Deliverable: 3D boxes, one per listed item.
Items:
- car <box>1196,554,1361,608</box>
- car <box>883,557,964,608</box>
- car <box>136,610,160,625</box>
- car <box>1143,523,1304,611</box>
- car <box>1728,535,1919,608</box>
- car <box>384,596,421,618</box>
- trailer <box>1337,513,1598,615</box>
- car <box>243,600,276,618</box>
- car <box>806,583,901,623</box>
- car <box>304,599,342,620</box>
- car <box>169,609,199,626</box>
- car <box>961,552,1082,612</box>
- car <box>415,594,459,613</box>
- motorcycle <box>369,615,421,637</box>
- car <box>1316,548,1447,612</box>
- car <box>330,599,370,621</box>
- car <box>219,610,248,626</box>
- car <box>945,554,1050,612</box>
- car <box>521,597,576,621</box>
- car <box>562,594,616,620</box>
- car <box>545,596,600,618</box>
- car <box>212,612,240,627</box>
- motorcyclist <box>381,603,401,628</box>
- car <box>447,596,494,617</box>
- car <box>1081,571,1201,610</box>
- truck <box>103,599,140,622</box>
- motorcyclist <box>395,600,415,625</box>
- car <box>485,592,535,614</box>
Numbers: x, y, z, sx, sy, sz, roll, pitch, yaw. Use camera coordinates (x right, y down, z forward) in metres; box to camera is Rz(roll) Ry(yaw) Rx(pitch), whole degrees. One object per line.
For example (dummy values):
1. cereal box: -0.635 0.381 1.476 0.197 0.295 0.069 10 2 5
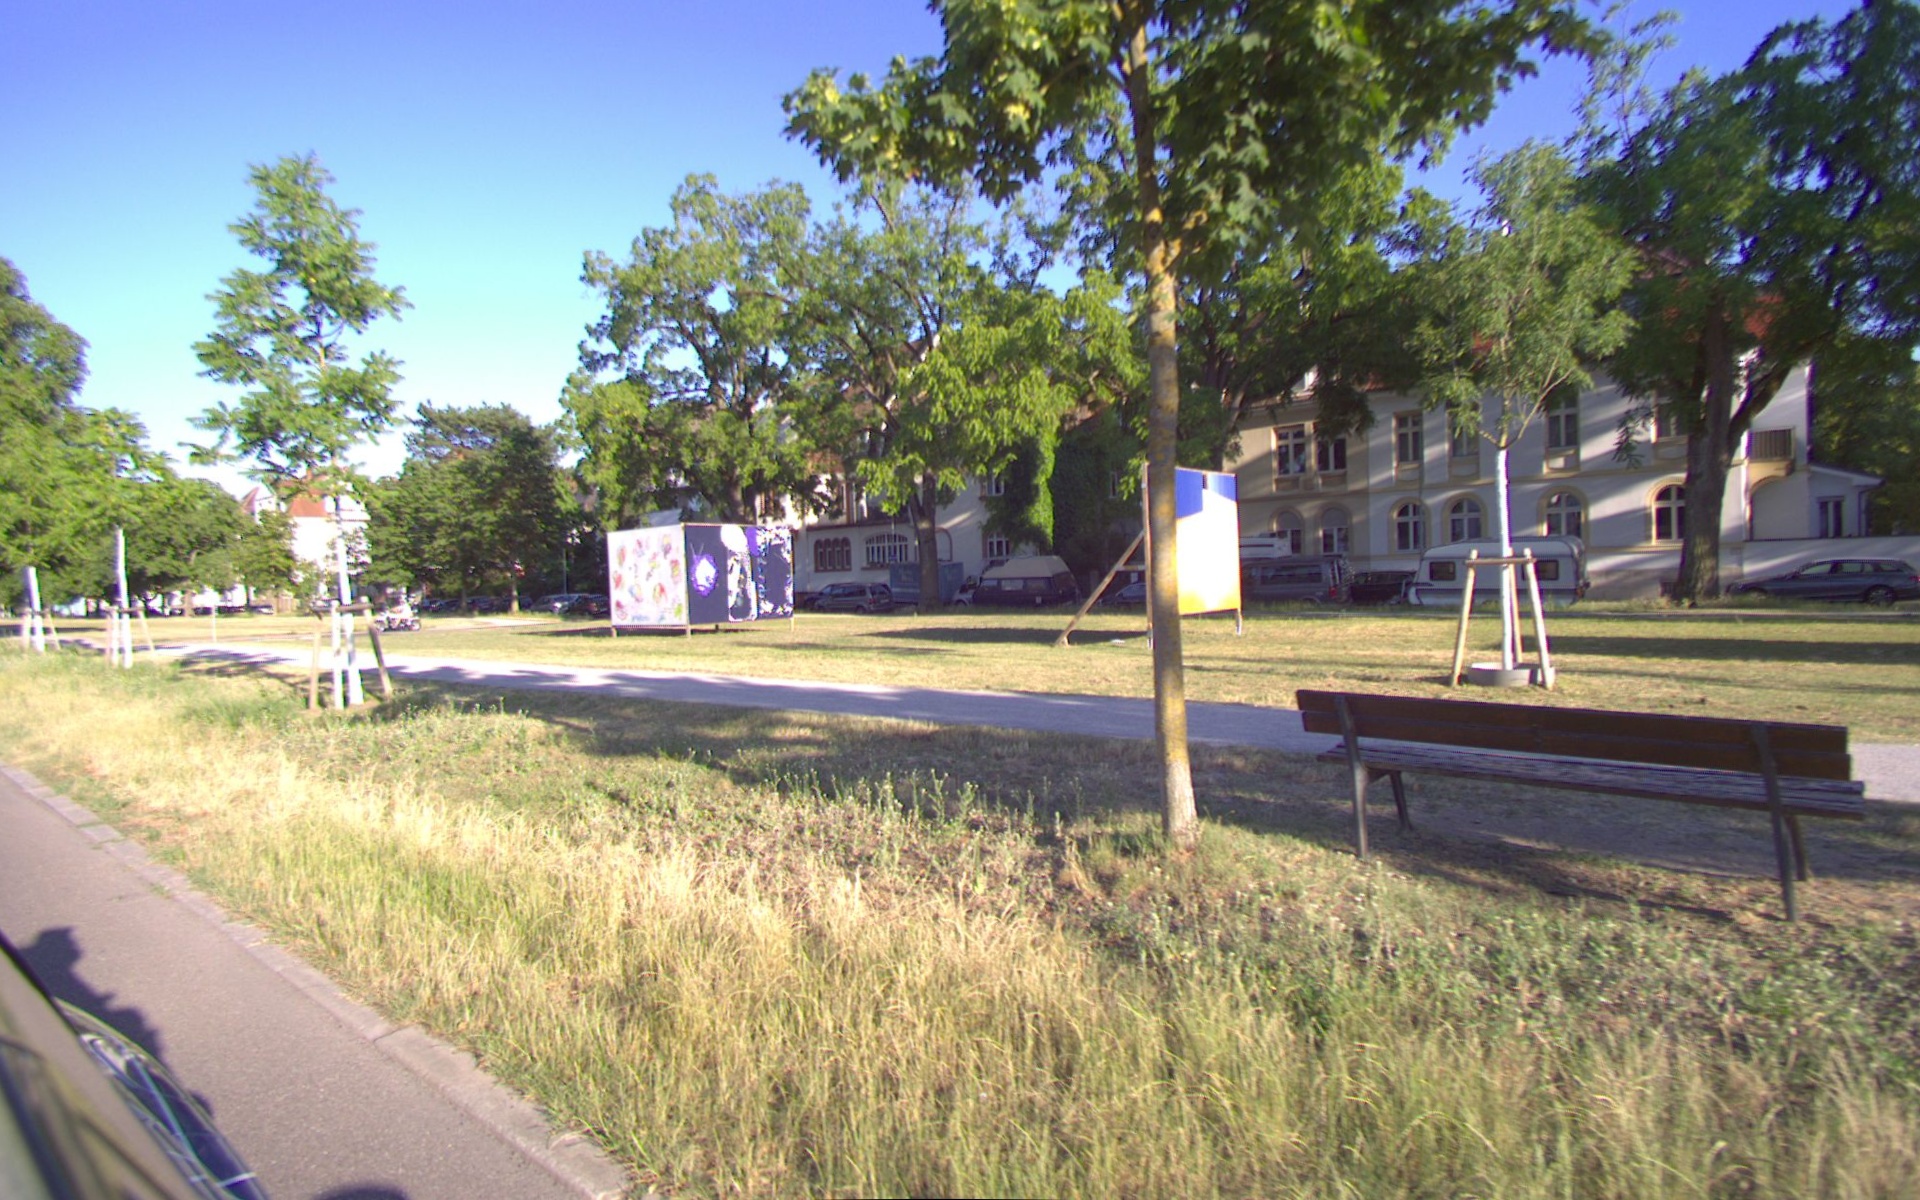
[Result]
1. car: 10.734 -0.611 34.275 4.946 1.654 1.974 -1 2 39
2. car: -1.923 -0.904 52.708 3.998 2.560 1.973 1 2 41
3. car: -113.659 2.459 141.658 4.000 2.029 1.972 -2 0 43
4. car: 10.765 -1.267 41.707 6.071 3.274 1.973 -2 0 41
5. car: 25.366 -0.797 29.420 4.712 1.926 1.870 -2 1 41
6. car: -53.745 0.678 97.569 4.000 2.029 1.972 -1 1 43
7. trailer: 15.074 -0.962 30.370 6.631 2.679 2.448 0 -2 40
8. car: -74.929 0.959 108.261 3.998 1.715 1.973 -2 0 41
9. car: -5.059 0.146 47.922 4.340 1.742 1.974 -2 0 40
10. car: -59.653 0.852 94.725 3.999 1.858 1.972 0 -2 42
11. car: -98.453 2.214 128.343 3.996 2.029 2.099 0 -2 39
12. car: 2.470 -0.705 41.304 4.565 2.191 1.974 -2 0 38
13. car: -40.027 0.269 77.436 3.636 1.341 1.542 -2 0 36
14. motorcycle: -26.844 1.221 48.112 0.565 0.964 2.084 -2 1 38
15. car: 15.477 -0.709 37.259 3.998 2.170 1.973 -2 1 41
16. car: -54.485 0.862 90.350 3.999 1.858 1.972 0 -2 42
17. car: -94.177 2.337 131.247 3.994 1.897 1.974 0 -2 38
18. car: 1.801 -0.770 49.599 5.042 2.660 1.925 0 -2 41
19. car: -27.049 0.601 66.477 3.636 1.418 1.672 -2 0 36
20. car: -23.423 0.455 63.896 1.868 1.534 3.683 -1 0 -44
21. car: -29.201 0.530 76.188 3.992 1.510 1.976 -2 0 36
22. car: -99.449 2.621 137.073 3.994 1.859 1.974 0 -2 38
23. motorcyclist: -26.942 0.725 47.903 0.749 1.158 0.568 -2 0 39
24. car: -35.928 0.488 74.224 3.636 1.427 1.542 -2 0 36
25. car: 6.692 -0.343 37.627 4.043 1.325 1.833 -1 2 43
26. truck: -125.690 1.559 151.624 7.703 3.169 2.751 -1 1 40
27. motorcyclist: -26.583 0.609 48.485 0.749 1.158 0.568 -2 0 39
28. car: -31.191 0.230 70.093 3.636 1.379 1.542 -2 0 36
